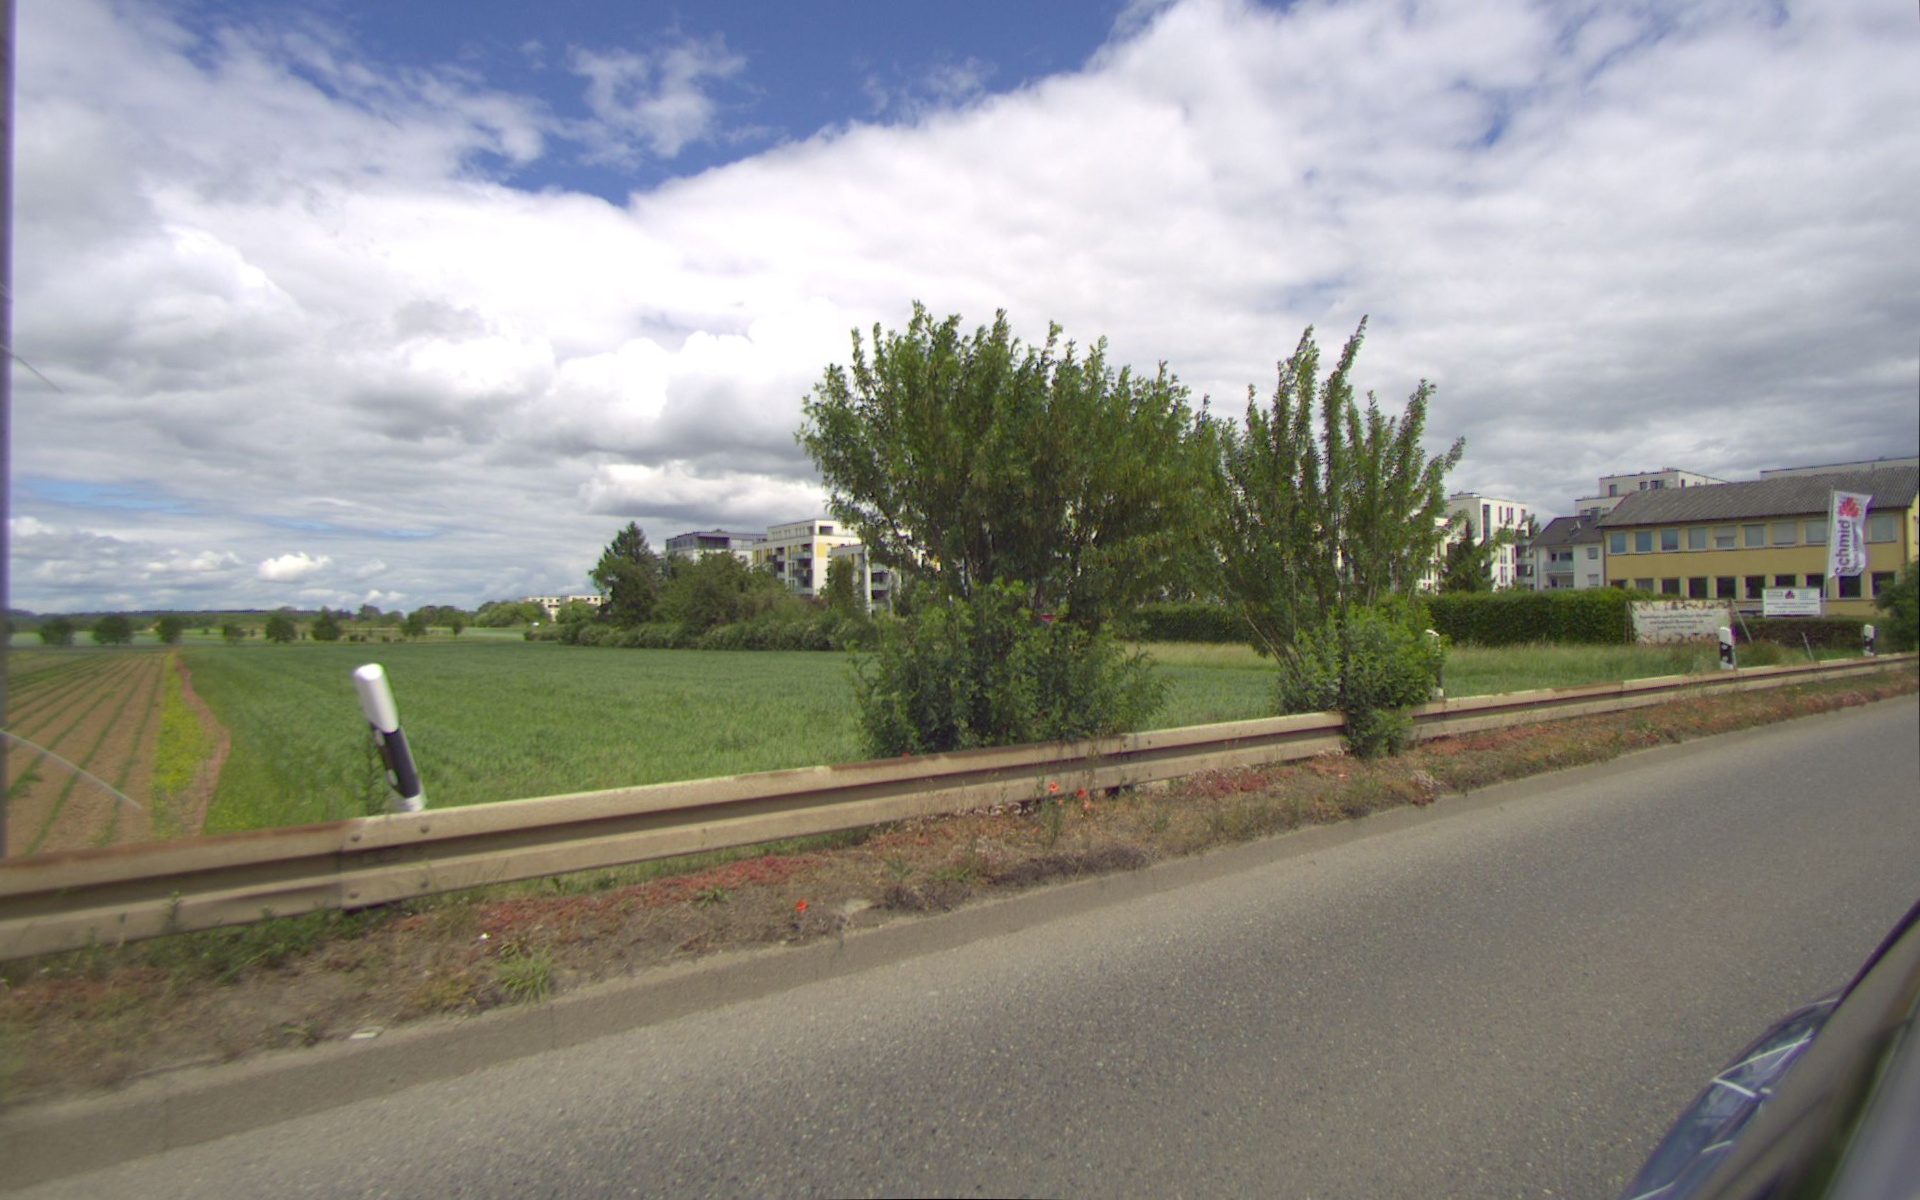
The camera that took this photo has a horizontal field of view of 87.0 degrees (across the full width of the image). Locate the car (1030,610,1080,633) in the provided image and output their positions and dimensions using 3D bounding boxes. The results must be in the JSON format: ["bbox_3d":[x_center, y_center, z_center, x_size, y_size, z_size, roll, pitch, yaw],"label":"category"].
[{"bbox_3d":[8.771,1.984,93.650,1.965,2.039,4.432,0,0,-41],"label":"car"}]
